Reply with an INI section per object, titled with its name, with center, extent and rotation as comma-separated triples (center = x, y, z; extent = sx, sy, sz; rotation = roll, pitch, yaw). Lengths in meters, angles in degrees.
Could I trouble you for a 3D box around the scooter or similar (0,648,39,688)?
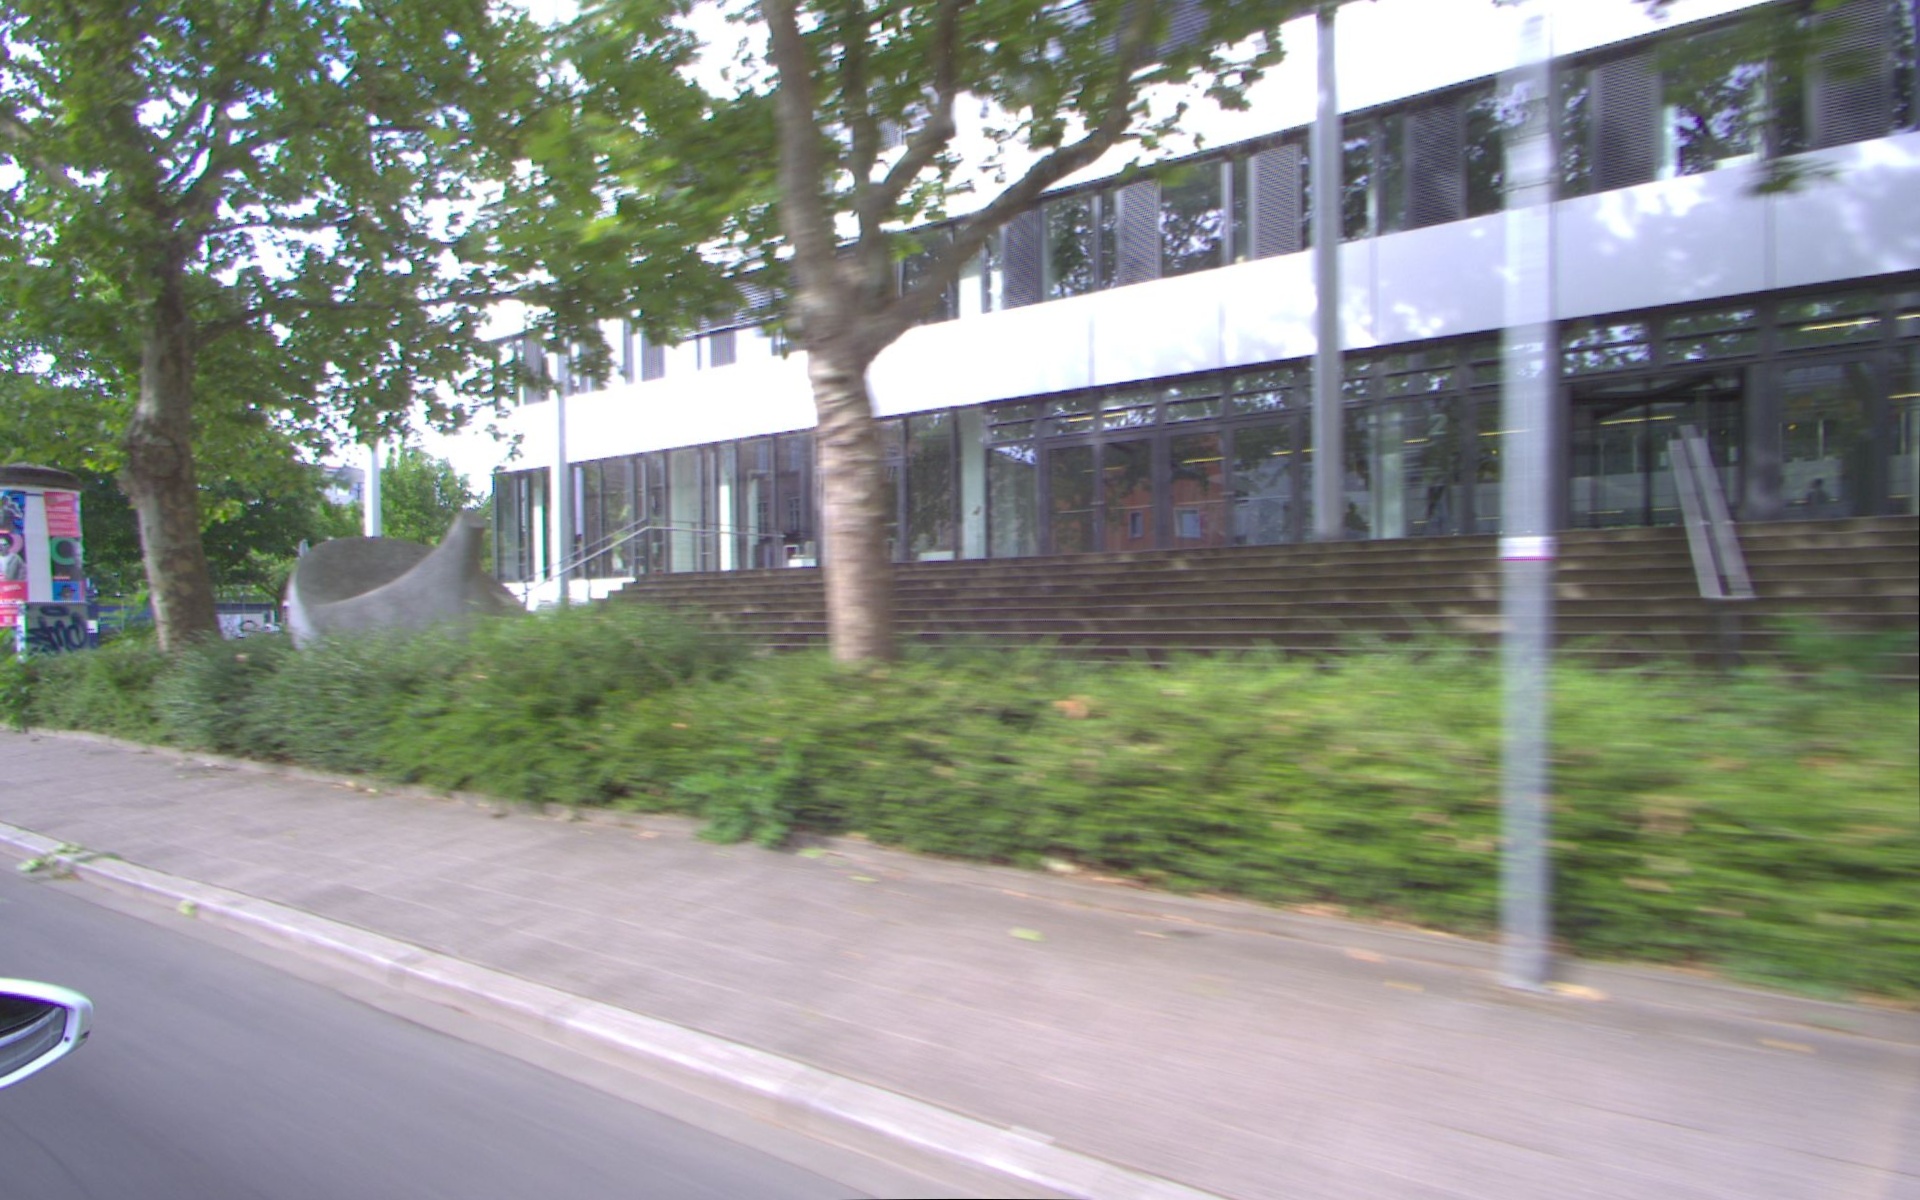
[scooter or similar]
center = -18.560, 1.316, 19.233
extent = 0.364, 0.746, 1.217
rotation = 0, 0, 31
